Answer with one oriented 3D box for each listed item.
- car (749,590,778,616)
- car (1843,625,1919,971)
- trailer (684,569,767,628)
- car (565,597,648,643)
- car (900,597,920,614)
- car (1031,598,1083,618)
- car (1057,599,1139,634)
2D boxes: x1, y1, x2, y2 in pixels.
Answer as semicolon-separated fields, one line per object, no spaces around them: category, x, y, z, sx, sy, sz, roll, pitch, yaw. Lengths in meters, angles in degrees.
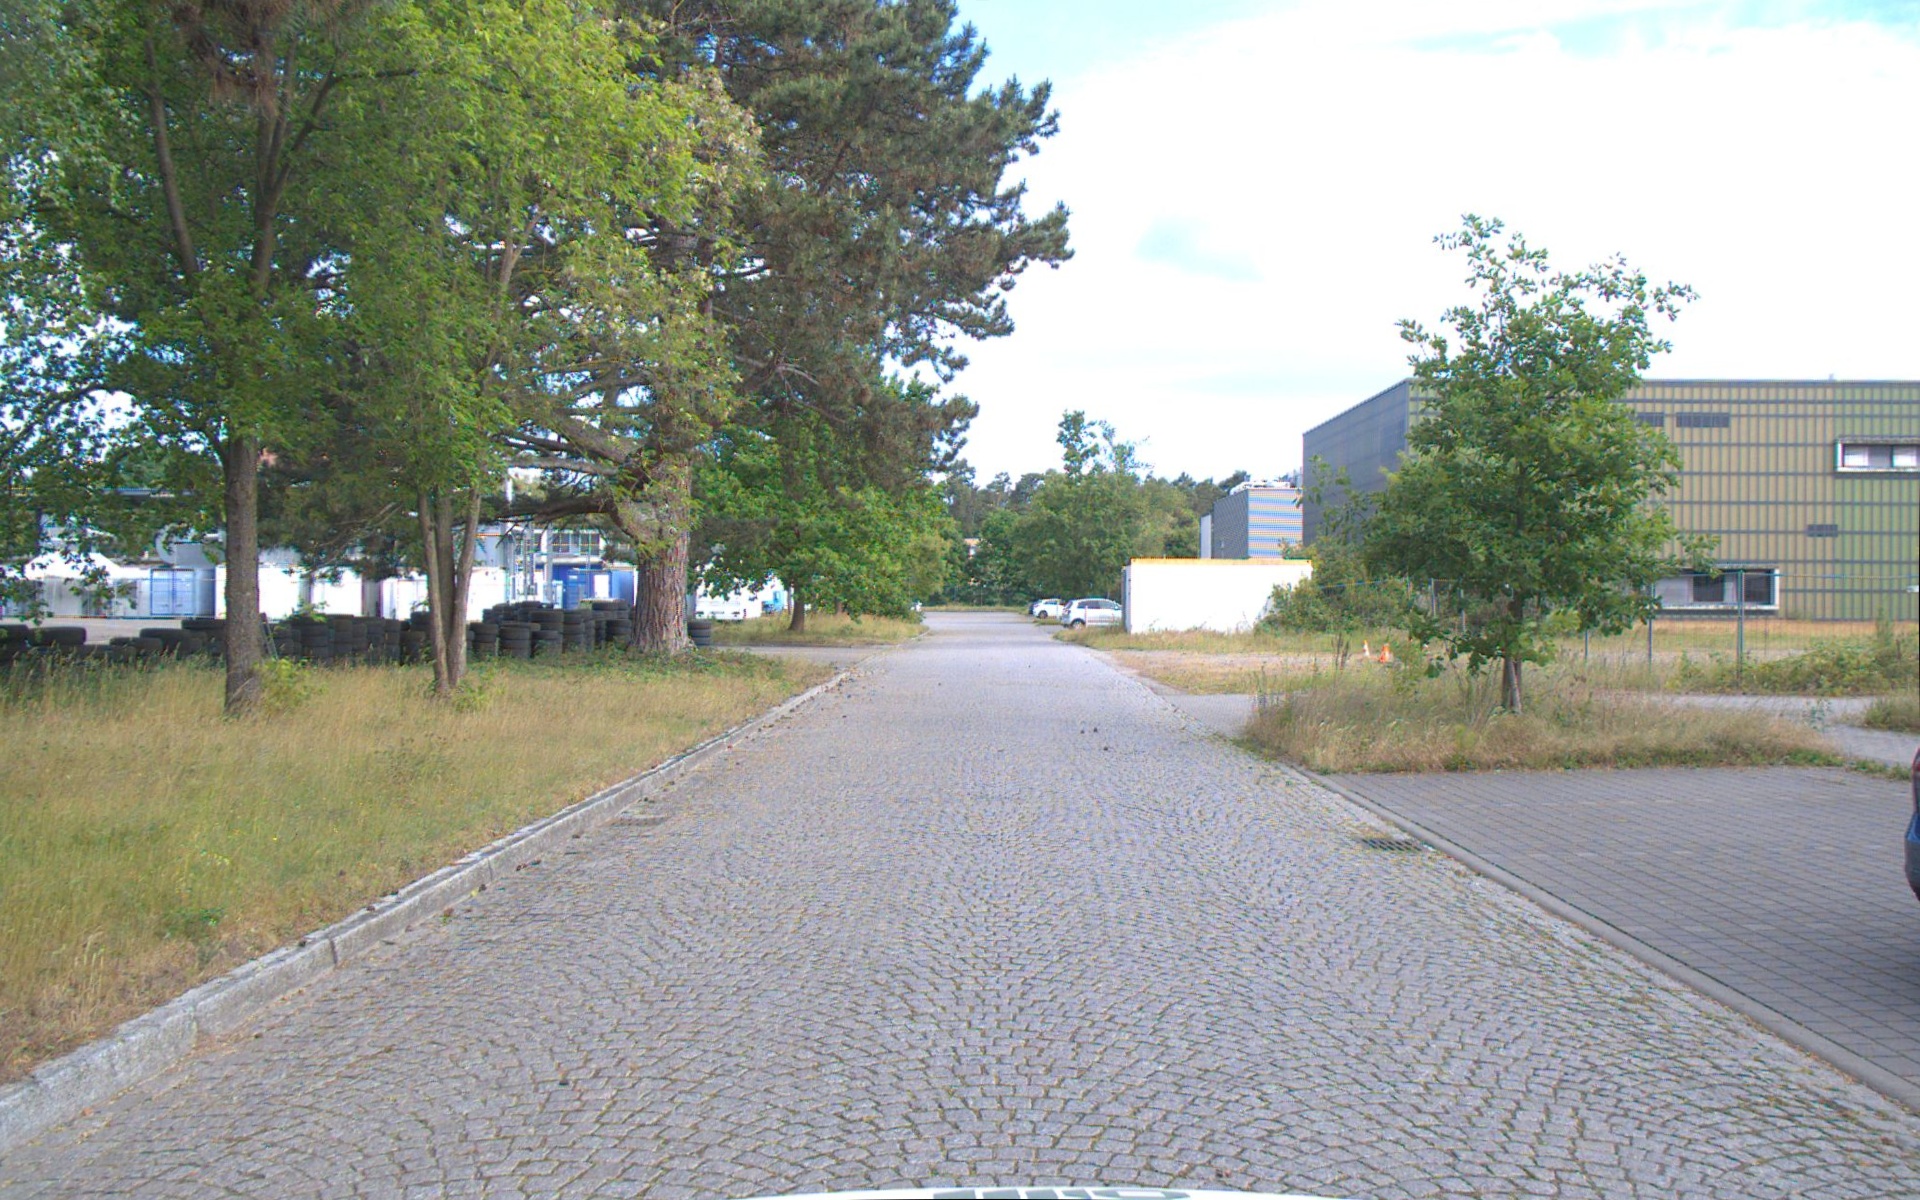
car;-15.889;0.263;133.720;1.886;2.083;4.599;0;0;-2
car;6.341;0.794;6.826;4.431;1.469;1.822;-2;0;-3
trailer;-13.094;-0.087;93.175;3.093;3.121;8.787;0;0;2
car;-11.859;0.649;55.707;1.729;1.478;3.490;0;0;6
car;-4.681;0.512;155.007;1.767;1.561;3.999;0;0;-2
car;7.391;0.623;126.497;3.942;1.528;1.548;0;0;1
car;6.691;0.775;80.345;3.772;1.683;1.685;0;0;-2
